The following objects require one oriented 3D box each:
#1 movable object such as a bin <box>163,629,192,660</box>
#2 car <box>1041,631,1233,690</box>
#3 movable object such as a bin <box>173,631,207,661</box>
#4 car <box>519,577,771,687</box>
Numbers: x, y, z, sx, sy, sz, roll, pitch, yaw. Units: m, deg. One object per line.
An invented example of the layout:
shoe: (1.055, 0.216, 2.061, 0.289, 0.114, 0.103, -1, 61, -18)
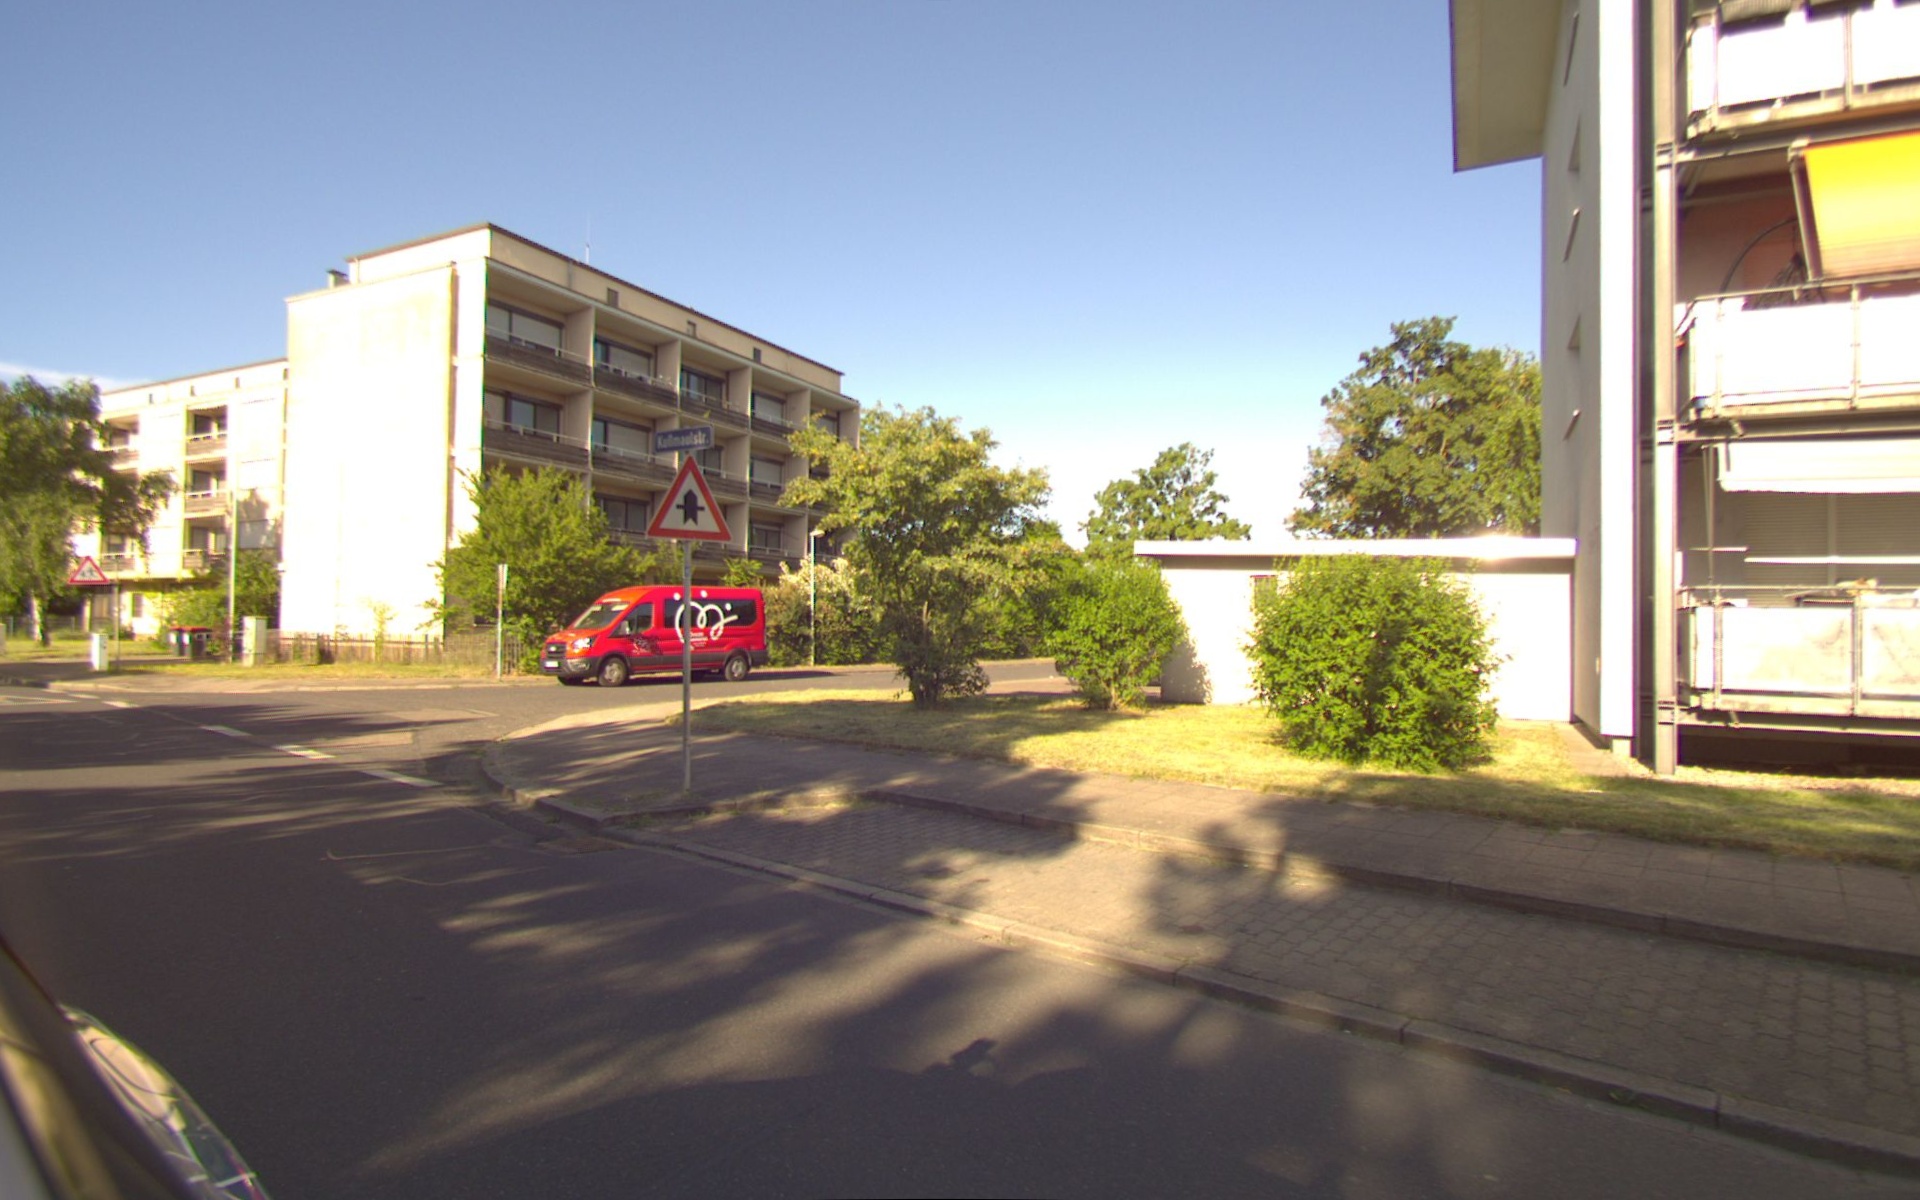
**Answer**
movable object such as a bin: (-27.920, 1.583, 36.114, 0.552, 1.061, 0.562, 0, -2, 16)
car: (4.414, 1.491, 25.366, 4.353, 1.367, 1.938, -2, -3, 32)
movable object such as a bin: (-27.314, 1.626, 35.915, 0.696, 1.056, 0.625, 0, -2, 15)
car: (-7.726, 0.882, 25.530, 2.210, 2.447, 5.848, -3, -4, 38)
